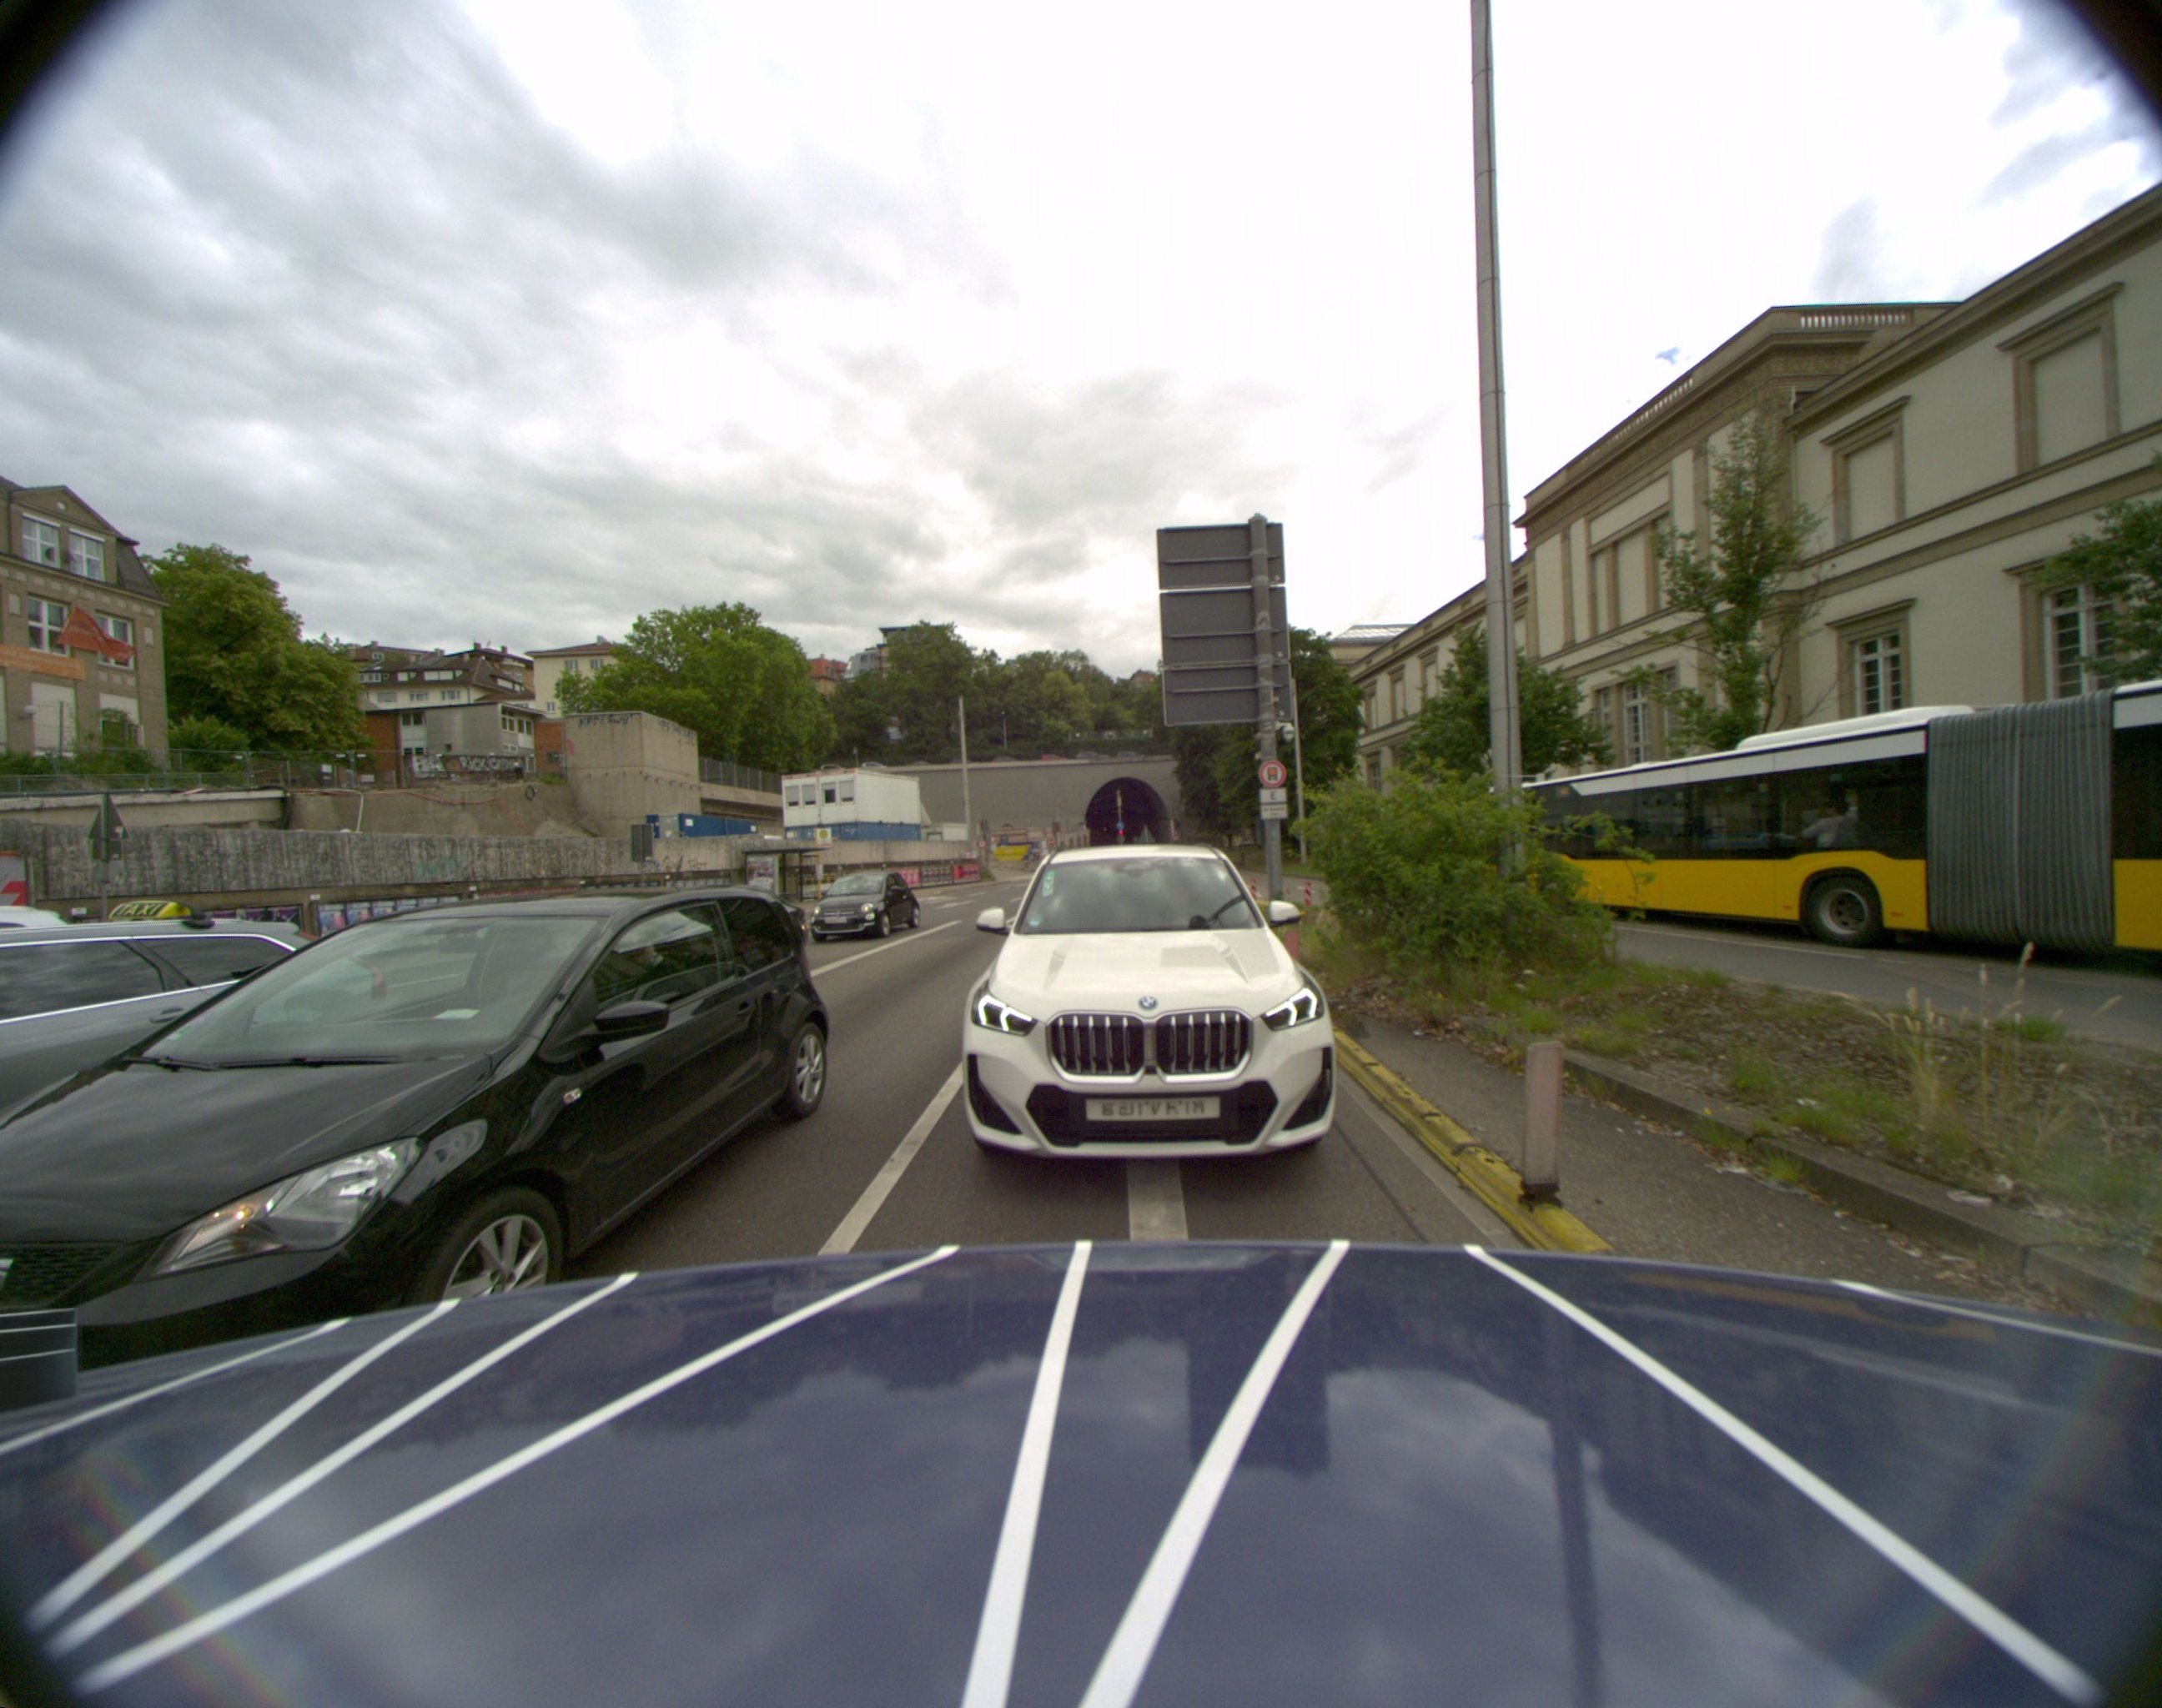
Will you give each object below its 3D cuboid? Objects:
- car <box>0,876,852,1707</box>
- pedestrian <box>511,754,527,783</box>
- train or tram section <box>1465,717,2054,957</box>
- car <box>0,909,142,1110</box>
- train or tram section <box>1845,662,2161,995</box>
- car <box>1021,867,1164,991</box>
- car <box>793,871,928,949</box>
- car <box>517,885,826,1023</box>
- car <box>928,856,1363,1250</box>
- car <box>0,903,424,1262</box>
[{"bbox_3d":[-2.518,0.982,3.277,1.661,1.547,3.911,-2,1,3],"label":"car"},{"bbox_3d":[-36.578,-5.543,49.462,0.554,1.784,0.570,-2,1,11],"label":"pedestrian"},{"bbox_3d":[11.165,-0.223,14.512,2.701,3.053,9.375,-1,0,-1],"label":"train or tram section"},{"bbox_3d":[-9.139,1.263,4.582,1.826,1.457,4.073,-2,1,0],"label":"car"},{"bbox_3d":[11.257,-0.251,5.193,2.700,3.053,9.336,-1,0,0],"label":"train or tram section"},{"bbox_3d":[0.233,0.995,11.600,1.756,1.427,3.911,-2,0,3],"label":"car"},{"bbox_3d":[-4.920,1.193,17.543,1.720,1.450,3.782,-3,0,4],"label":"car"},{"bbox_3d":[-5.387,1.231,10.763,1.826,1.356,4.219,-2,0,4],"label":"car"},{"bbox_3d":[0.351,0.851,5.124,1.756,1.547,3.911,-2,1,3],"label":"car"},{"bbox_3d":[-5.813,1.147,3.457,1.826,1.457,4.217,-2,1,2],"label":"car"}]
